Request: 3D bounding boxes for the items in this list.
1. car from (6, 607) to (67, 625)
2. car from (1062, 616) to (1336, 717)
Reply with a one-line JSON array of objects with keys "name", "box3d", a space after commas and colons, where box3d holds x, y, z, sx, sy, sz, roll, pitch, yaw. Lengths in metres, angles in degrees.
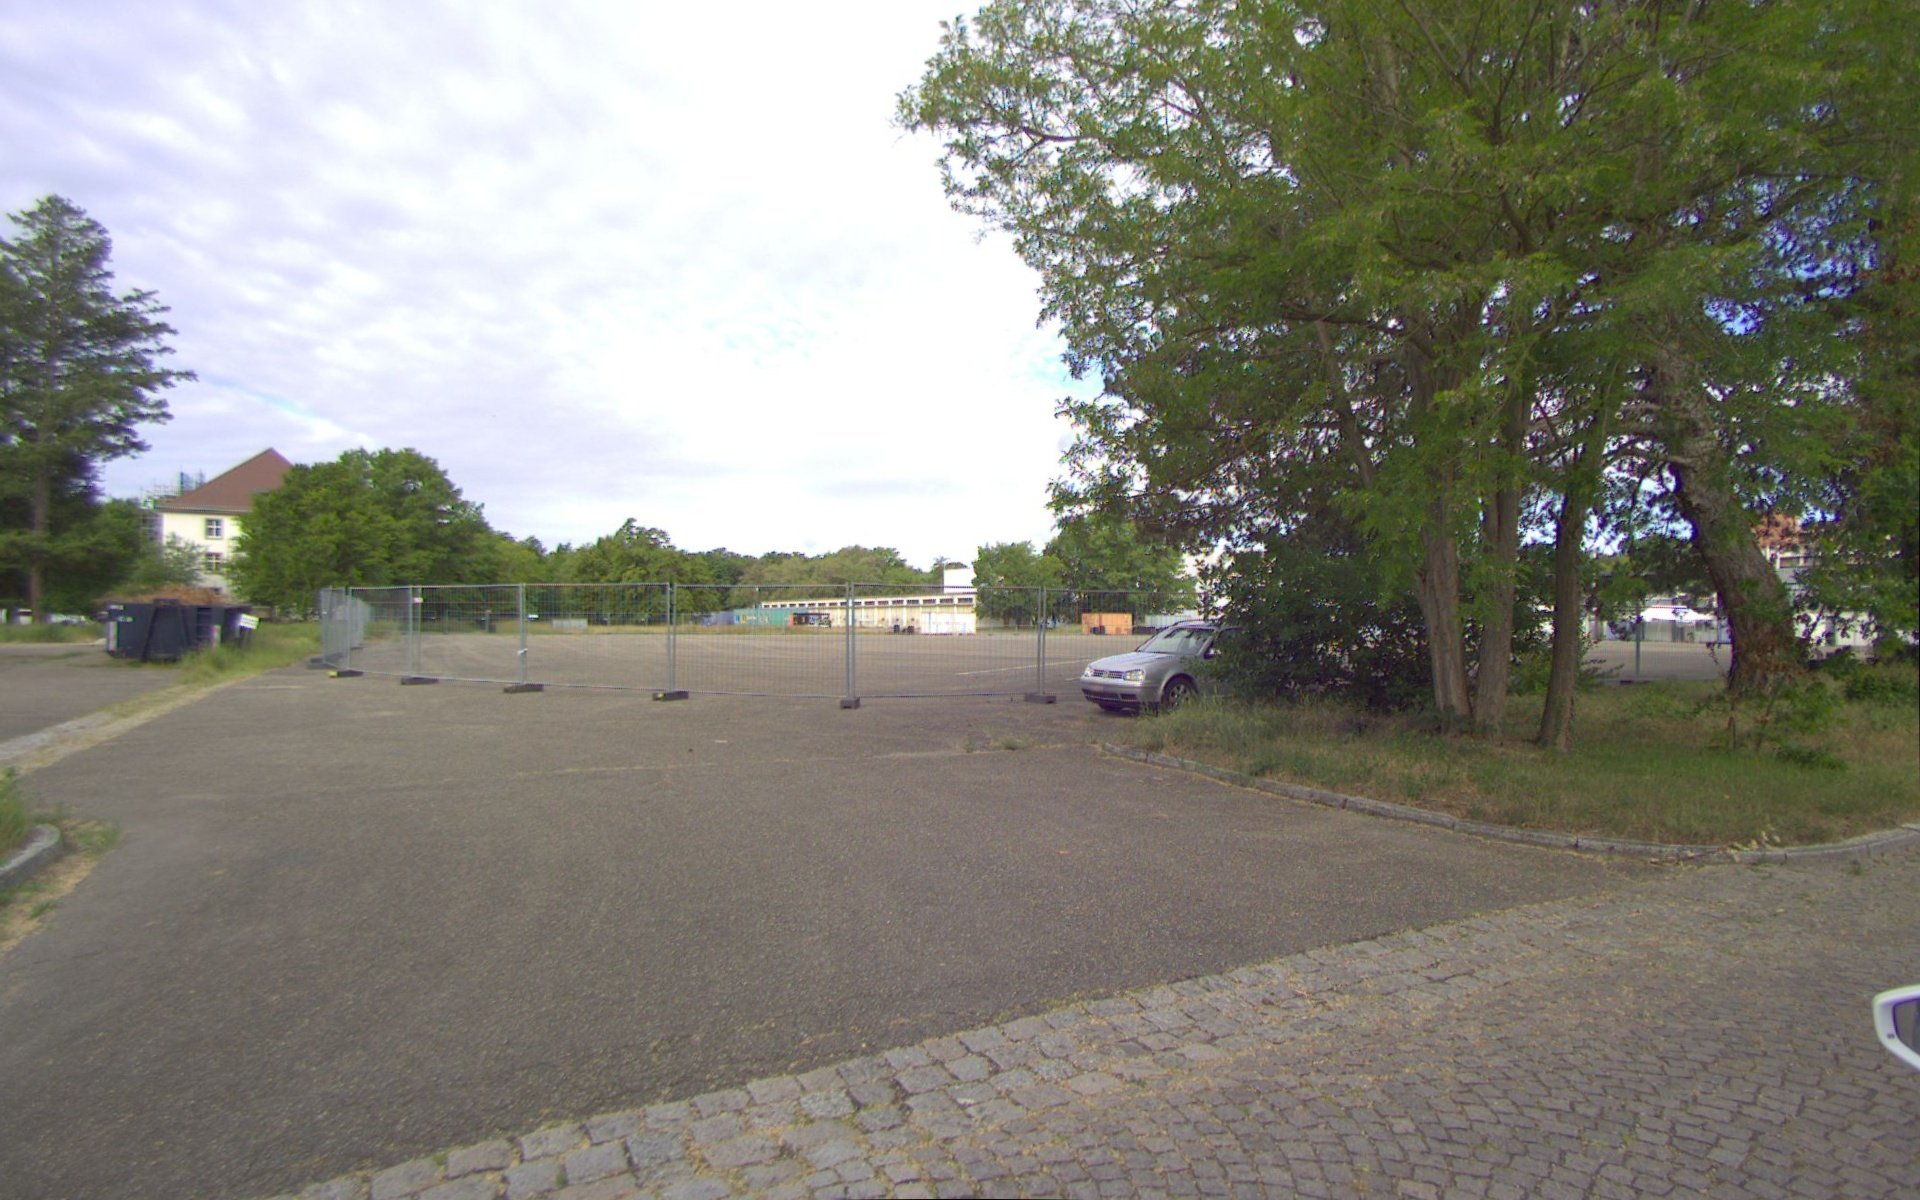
[{"name": "car", "box3d": [-93.594, 1.637, 101.887, 4.237, 1.746, 1.816, 1, 1, -29]}, {"name": "car", "box3d": [3.942, 0.995, 16.343, 4.372, 1.435, 1.814, 1, -1, -32]}]
